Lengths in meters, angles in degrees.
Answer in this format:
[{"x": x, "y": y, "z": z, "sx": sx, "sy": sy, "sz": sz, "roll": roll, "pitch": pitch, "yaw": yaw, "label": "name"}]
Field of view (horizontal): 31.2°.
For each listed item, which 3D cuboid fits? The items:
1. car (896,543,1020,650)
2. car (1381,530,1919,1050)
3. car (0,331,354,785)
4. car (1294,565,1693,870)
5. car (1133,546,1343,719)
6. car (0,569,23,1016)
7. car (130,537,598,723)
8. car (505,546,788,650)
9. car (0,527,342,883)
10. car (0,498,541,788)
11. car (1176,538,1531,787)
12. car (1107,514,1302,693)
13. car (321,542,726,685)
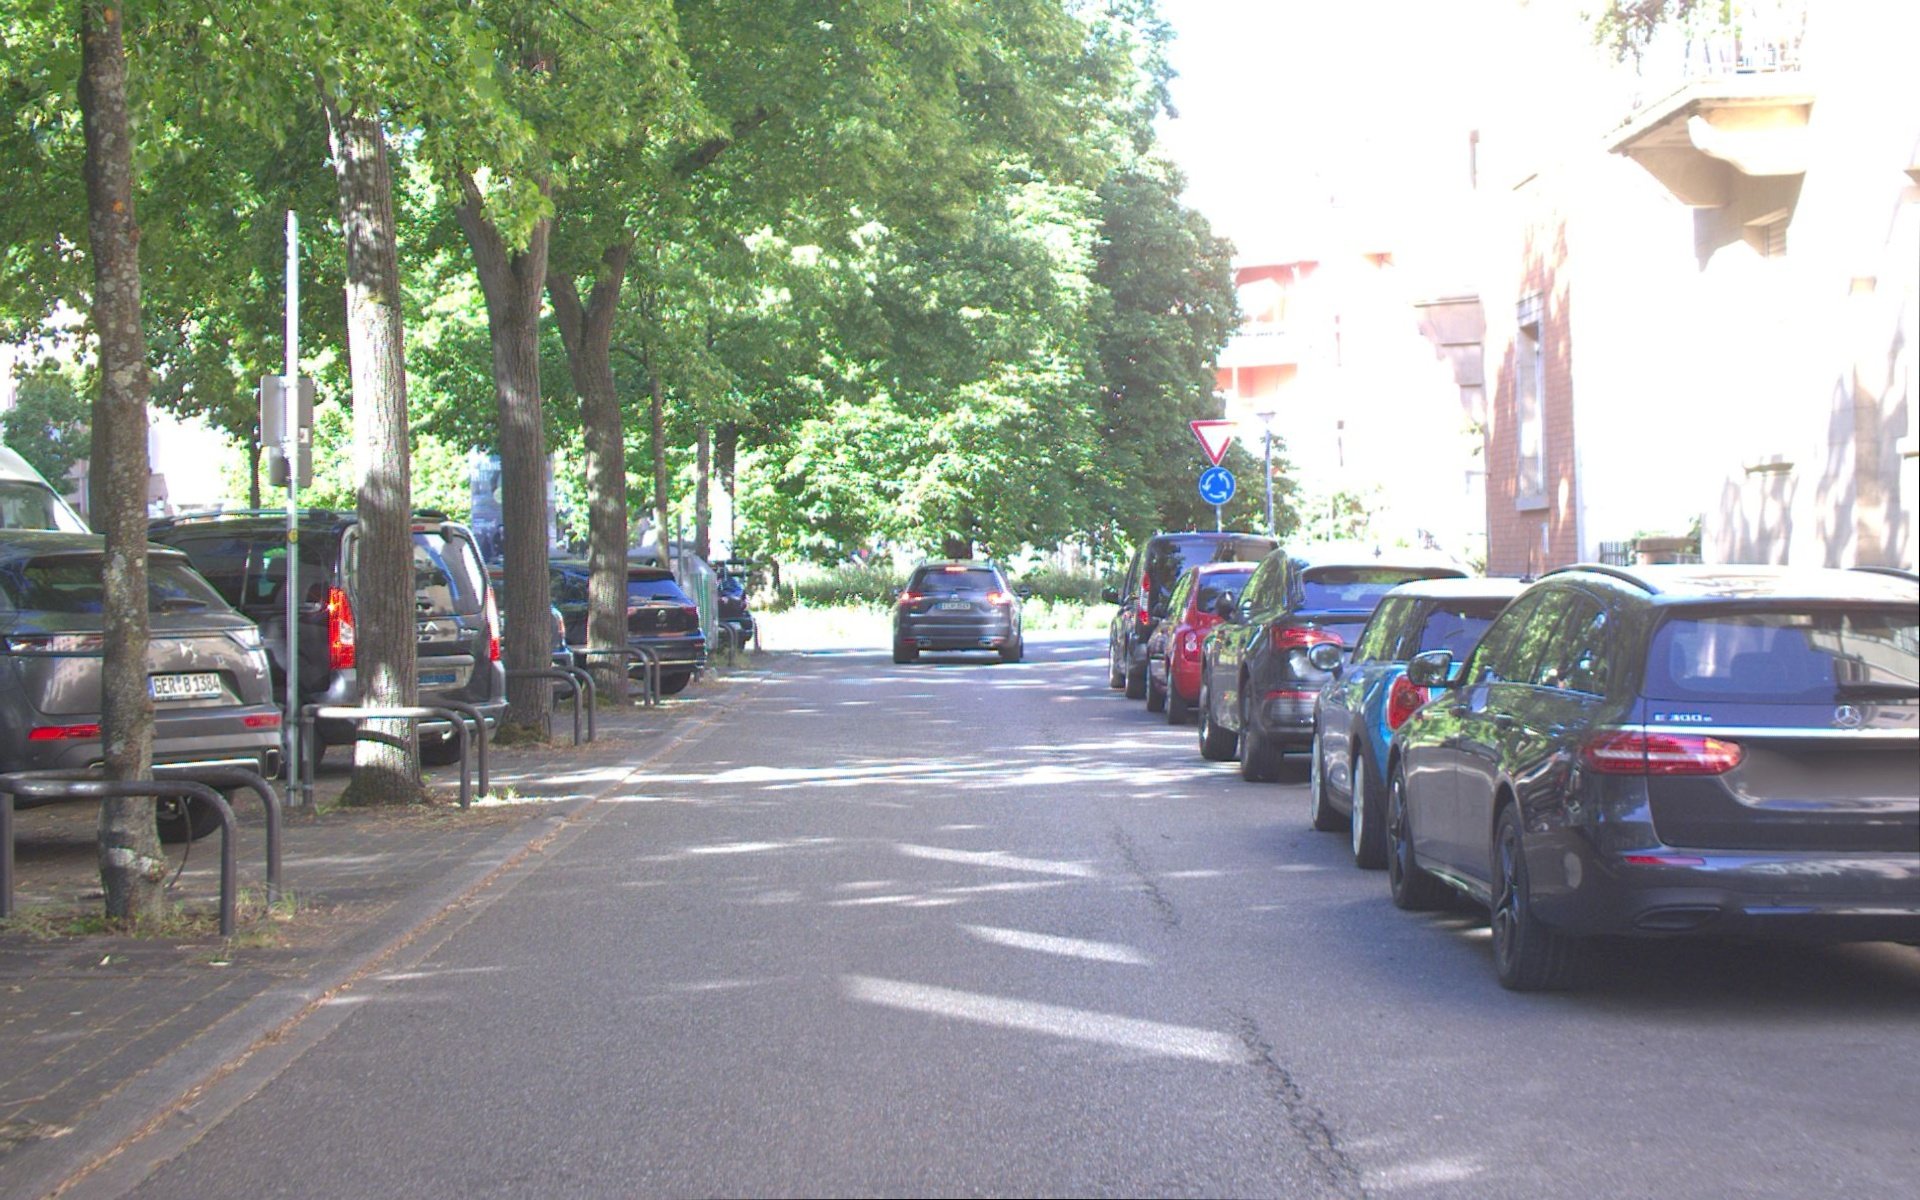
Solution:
[{"x": 0.005, "y": -0.085, "z": 50.174, "sx": 1.714, "sy": 1.478, "sz": 4.144, "roll": 0, "pitch": 1, "yaw": 1, "label": "car"}, {"x": 2.751, "y": 0.558, "z": 13.018, "sx": 1.805, "sy": 1.558, "sz": 4.321, "roll": -2, "pitch": 1, "yaw": 1, "label": "car"}, {"x": -7.336, "y": -0.045, "z": 22.313, "sx": 6.069, "sy": 2.614, "sz": 2.453, "roll": -5, "pitch": -1, "yaw": 15, "label": "car"}, {"x": 2.717, "y": 0.541, "z": 18.198, "sx": 1.590, "sy": 1.410, "sz": 3.632, "roll": 0, "pitch": 1, "yaw": 1, "label": "car"}, {"x": 2.659, "y": 0.271, "z": 33.655, "sx": 1.645, "sy": 1.532, "sz": 4.000, "roll": 2, "pitch": 1, "yaw": -1, "label": "car"}, {"x": -5.343, "y": 0.666, "z": 11.690, "sx": 4.102, "sy": 1.476, "sz": 1.729, "roll": -1, "pitch": 1, "yaw": 29, "label": "car"}, {"x": -5.251, "y": 0.249, "z": 30.441, "sx": 3.728, "sy": 1.576, "sz": 1.635, "roll": 0, "pitch": 1, "yaw": 12, "label": "car"}, {"x": -4.672, "y": -0.024, "z": 51.009, "sx": 4.138, "sy": 1.476, "sz": 1.772, "roll": -1, "pitch": 0, "yaw": 40, "label": "car"}, {"x": -5.376, "y": 0.445, "z": 17.567, "sx": 4.268, "sy": 1.636, "sz": 1.653, "roll": 1, "pitch": 1, "yaw": 28, "label": "car"}, {"x": -5.053, "y": 0.270, "z": 24.453, "sx": 3.846, "sy": 1.882, "sz": 1.840, "roll": 0, "pitch": 2, "yaw": 36, "label": "car"}, {"x": 2.759, "y": 0.376, "z": 25.104, "sx": 1.864, "sy": 1.638, "sz": 4.492, "roll": 0, "pitch": 1, "yaw": -3, "label": "car"}, {"x": 2.714, "y": -0.010, "z": 38.995, "sx": 1.801, "sy": 1.864, "sz": 4.273, "roll": 2, "pitch": 1, "yaw": -1, "label": "car"}, {"x": -4.504, "y": 0.132, "z": 35.969, "sx": 4.088, "sy": 1.461, "sz": 1.867, "roll": 0, "pitch": 0, "yaw": -3, "label": "car"}]
